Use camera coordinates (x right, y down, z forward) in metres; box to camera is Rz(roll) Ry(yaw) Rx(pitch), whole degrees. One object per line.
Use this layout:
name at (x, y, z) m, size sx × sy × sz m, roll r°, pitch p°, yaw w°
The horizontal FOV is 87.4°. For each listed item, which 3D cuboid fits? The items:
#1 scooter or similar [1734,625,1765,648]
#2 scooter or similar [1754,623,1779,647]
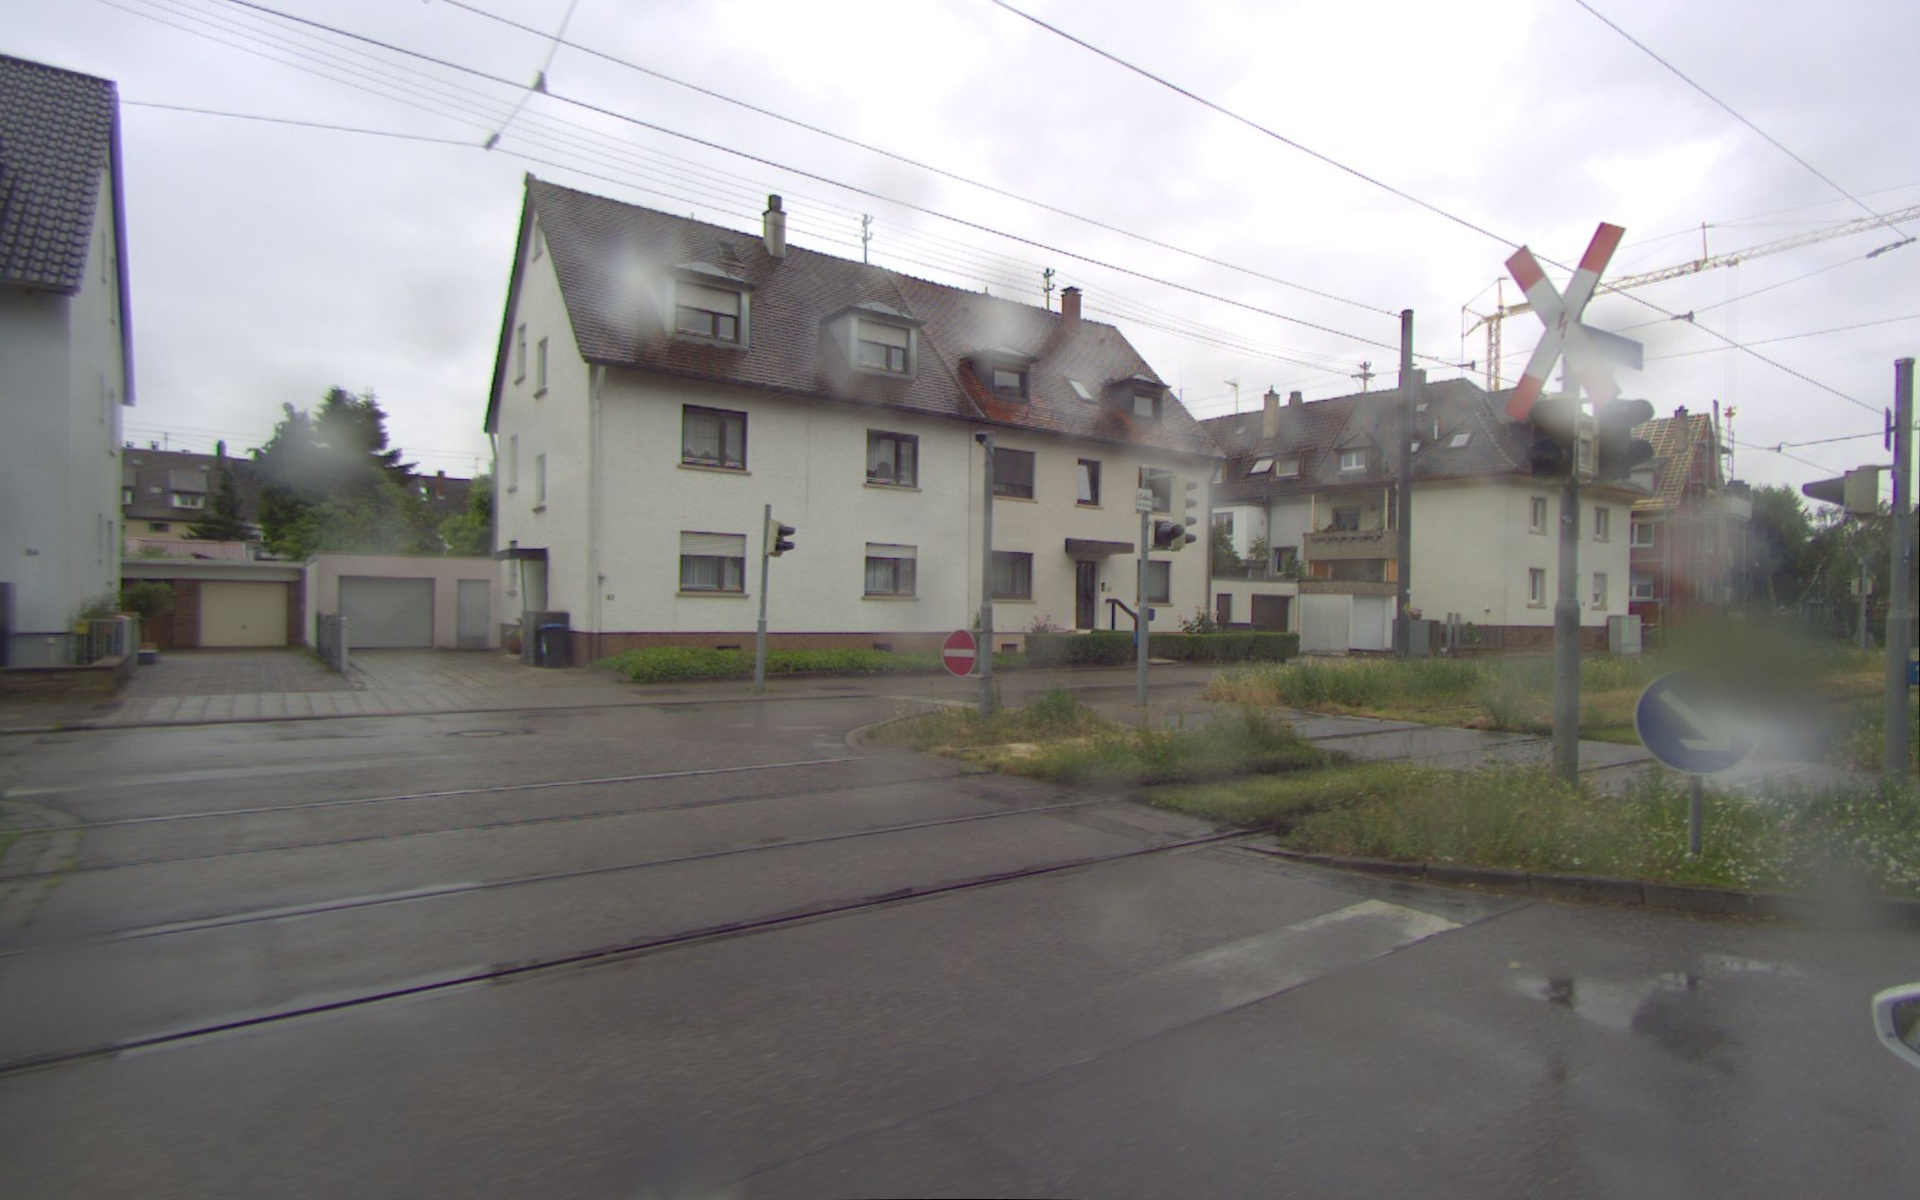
scooter or similar at (39.580, 1.813, 50.375) m, size 1.258 × 1.144 × 0.441 m, roll 1°, pitch 0°, yaw -4°
scooter or similar at (41.986, 1.817, 52.303) m, size 1.263 × 1.196 × 0.393 m, roll 1°, pitch 0°, yaw -19°
